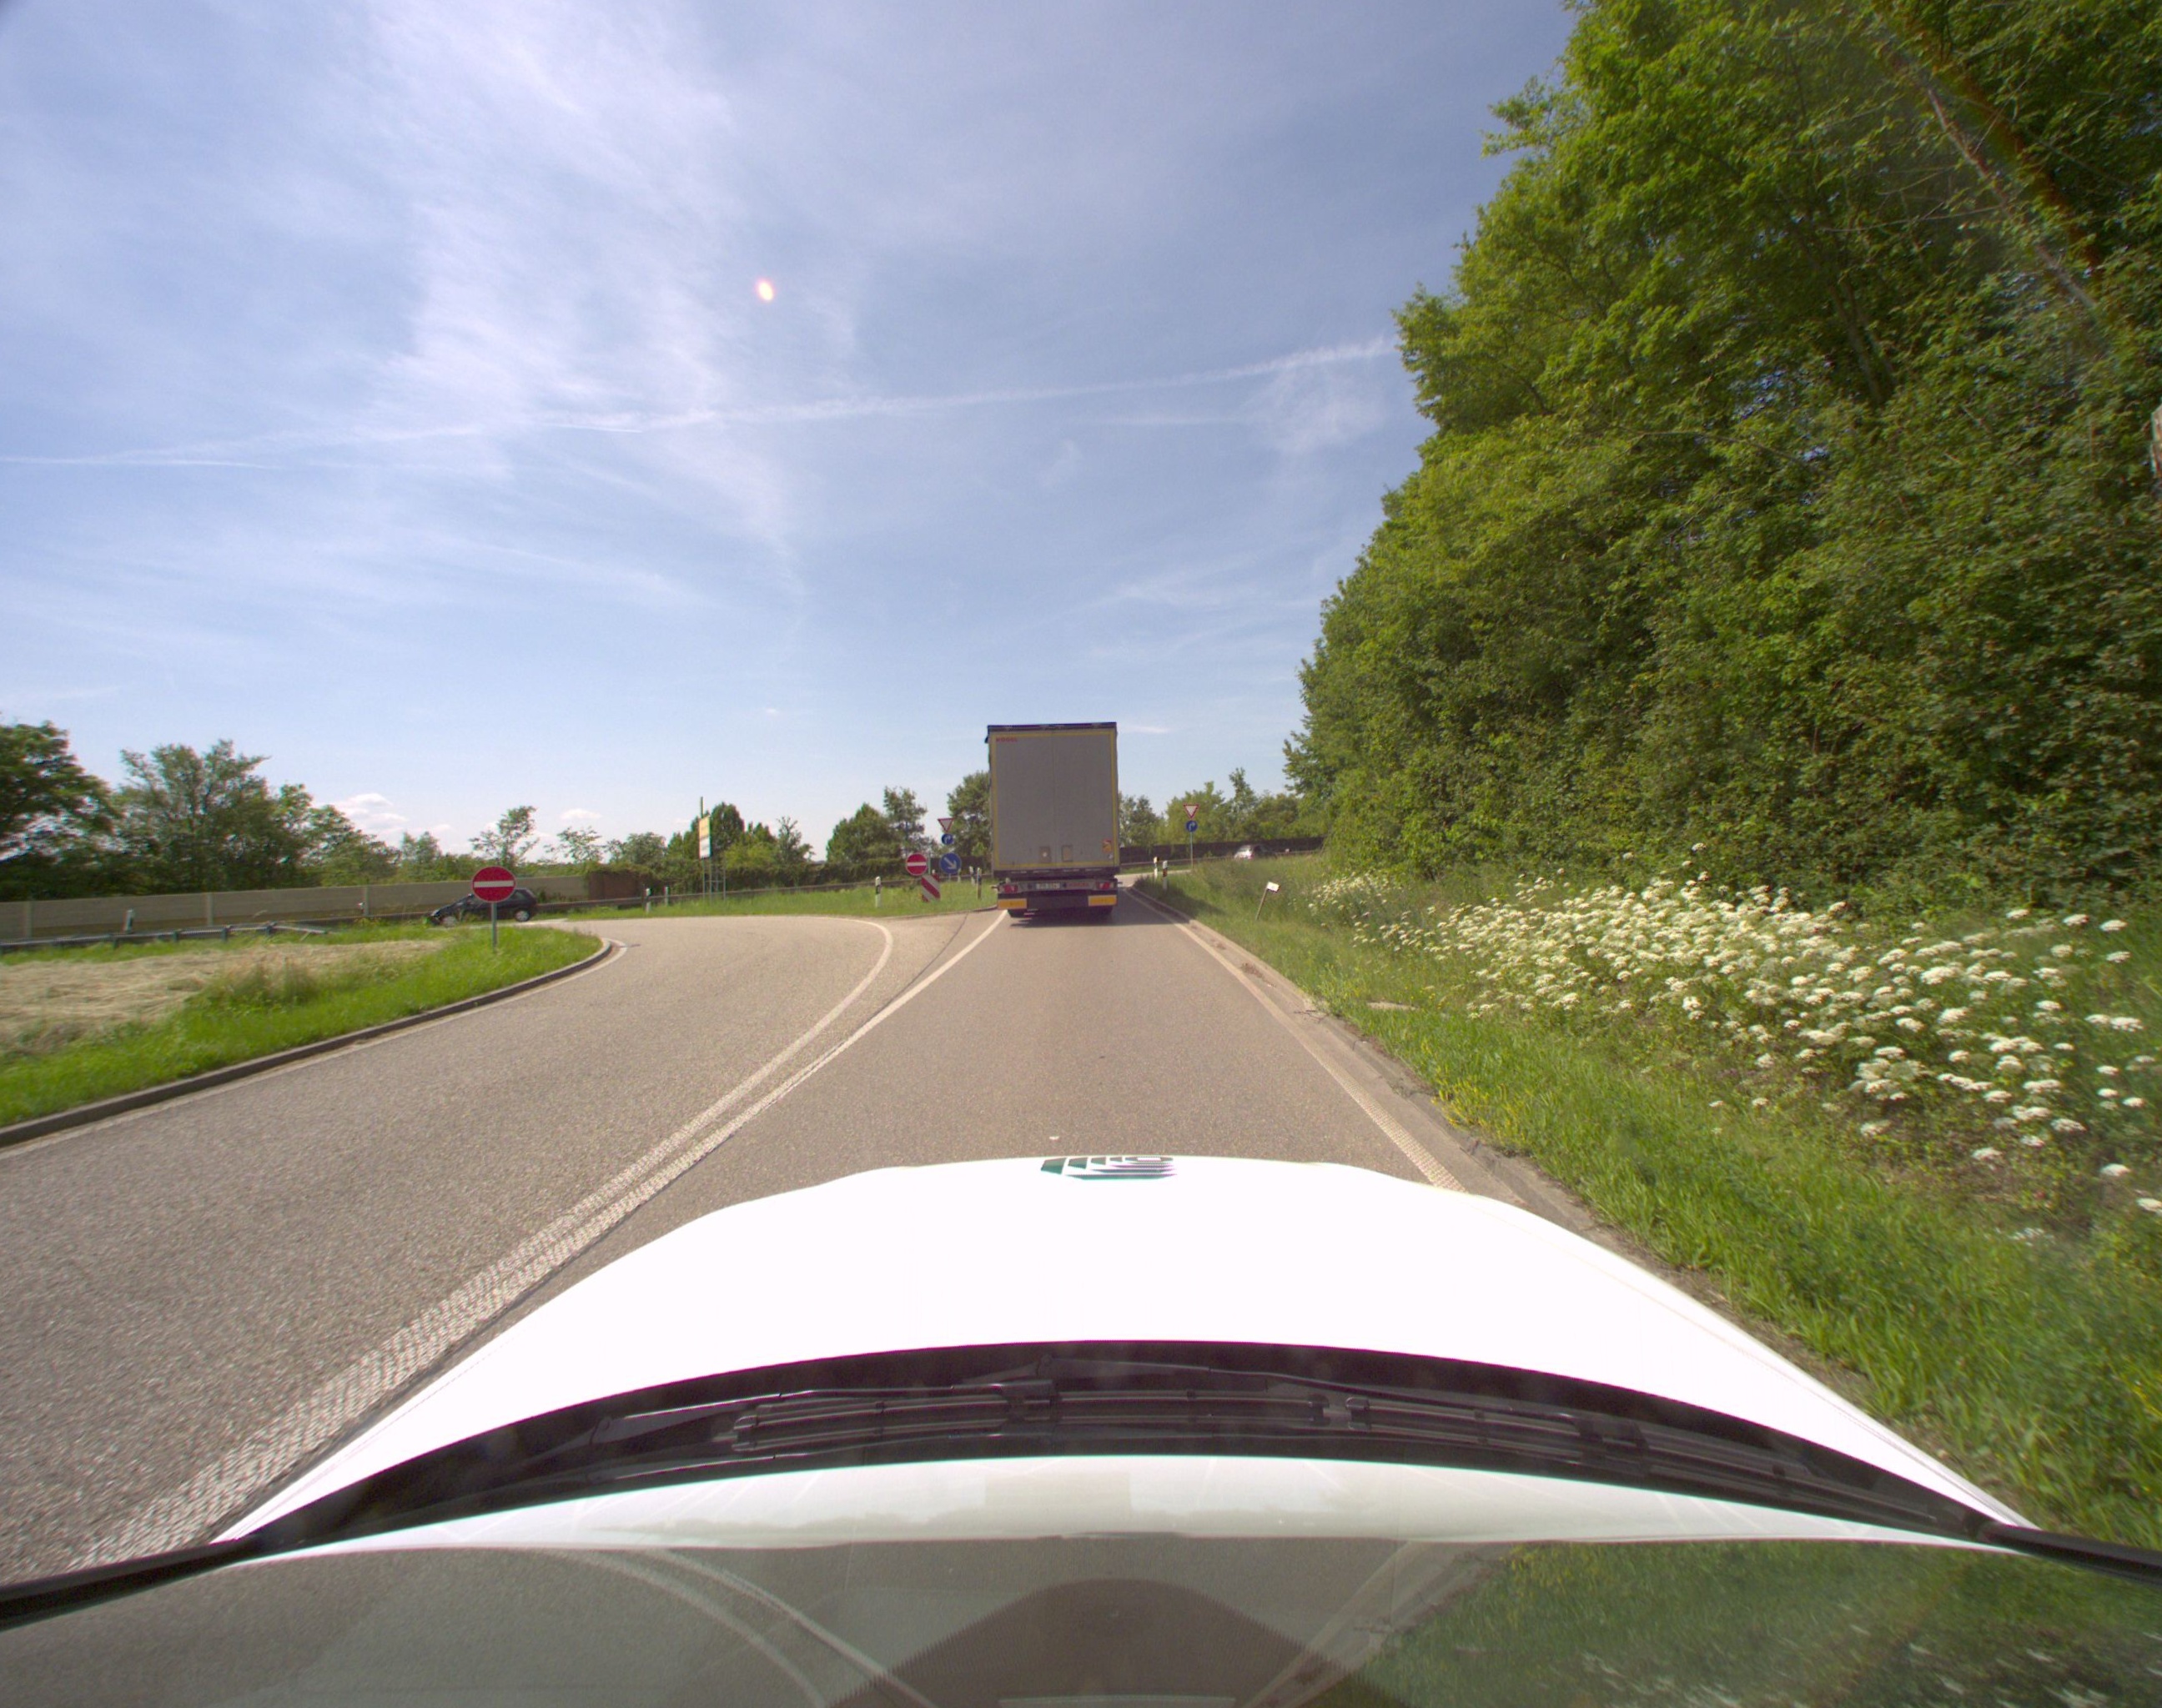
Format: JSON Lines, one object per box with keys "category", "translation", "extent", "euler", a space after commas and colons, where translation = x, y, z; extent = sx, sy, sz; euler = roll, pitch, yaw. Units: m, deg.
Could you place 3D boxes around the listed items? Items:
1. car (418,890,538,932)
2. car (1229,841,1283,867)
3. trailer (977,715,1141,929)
{"category": "car", "translation": [-27.188, 2.536, 36.895], "extent": [4.120, 1.538, 1.738], "euler": [-3, 0, -31]}
{"category": "car", "translation": [11.420, -0.019, 52.866], "extent": [1.650, 1.486, 4.025], "euler": [-3, 0, 40]}
{"category": "trailer", "translation": [-0.502, -0.655, 22.483], "extent": [3.018, 4.034, 13.347], "euler": [-2, 0, -1]}
